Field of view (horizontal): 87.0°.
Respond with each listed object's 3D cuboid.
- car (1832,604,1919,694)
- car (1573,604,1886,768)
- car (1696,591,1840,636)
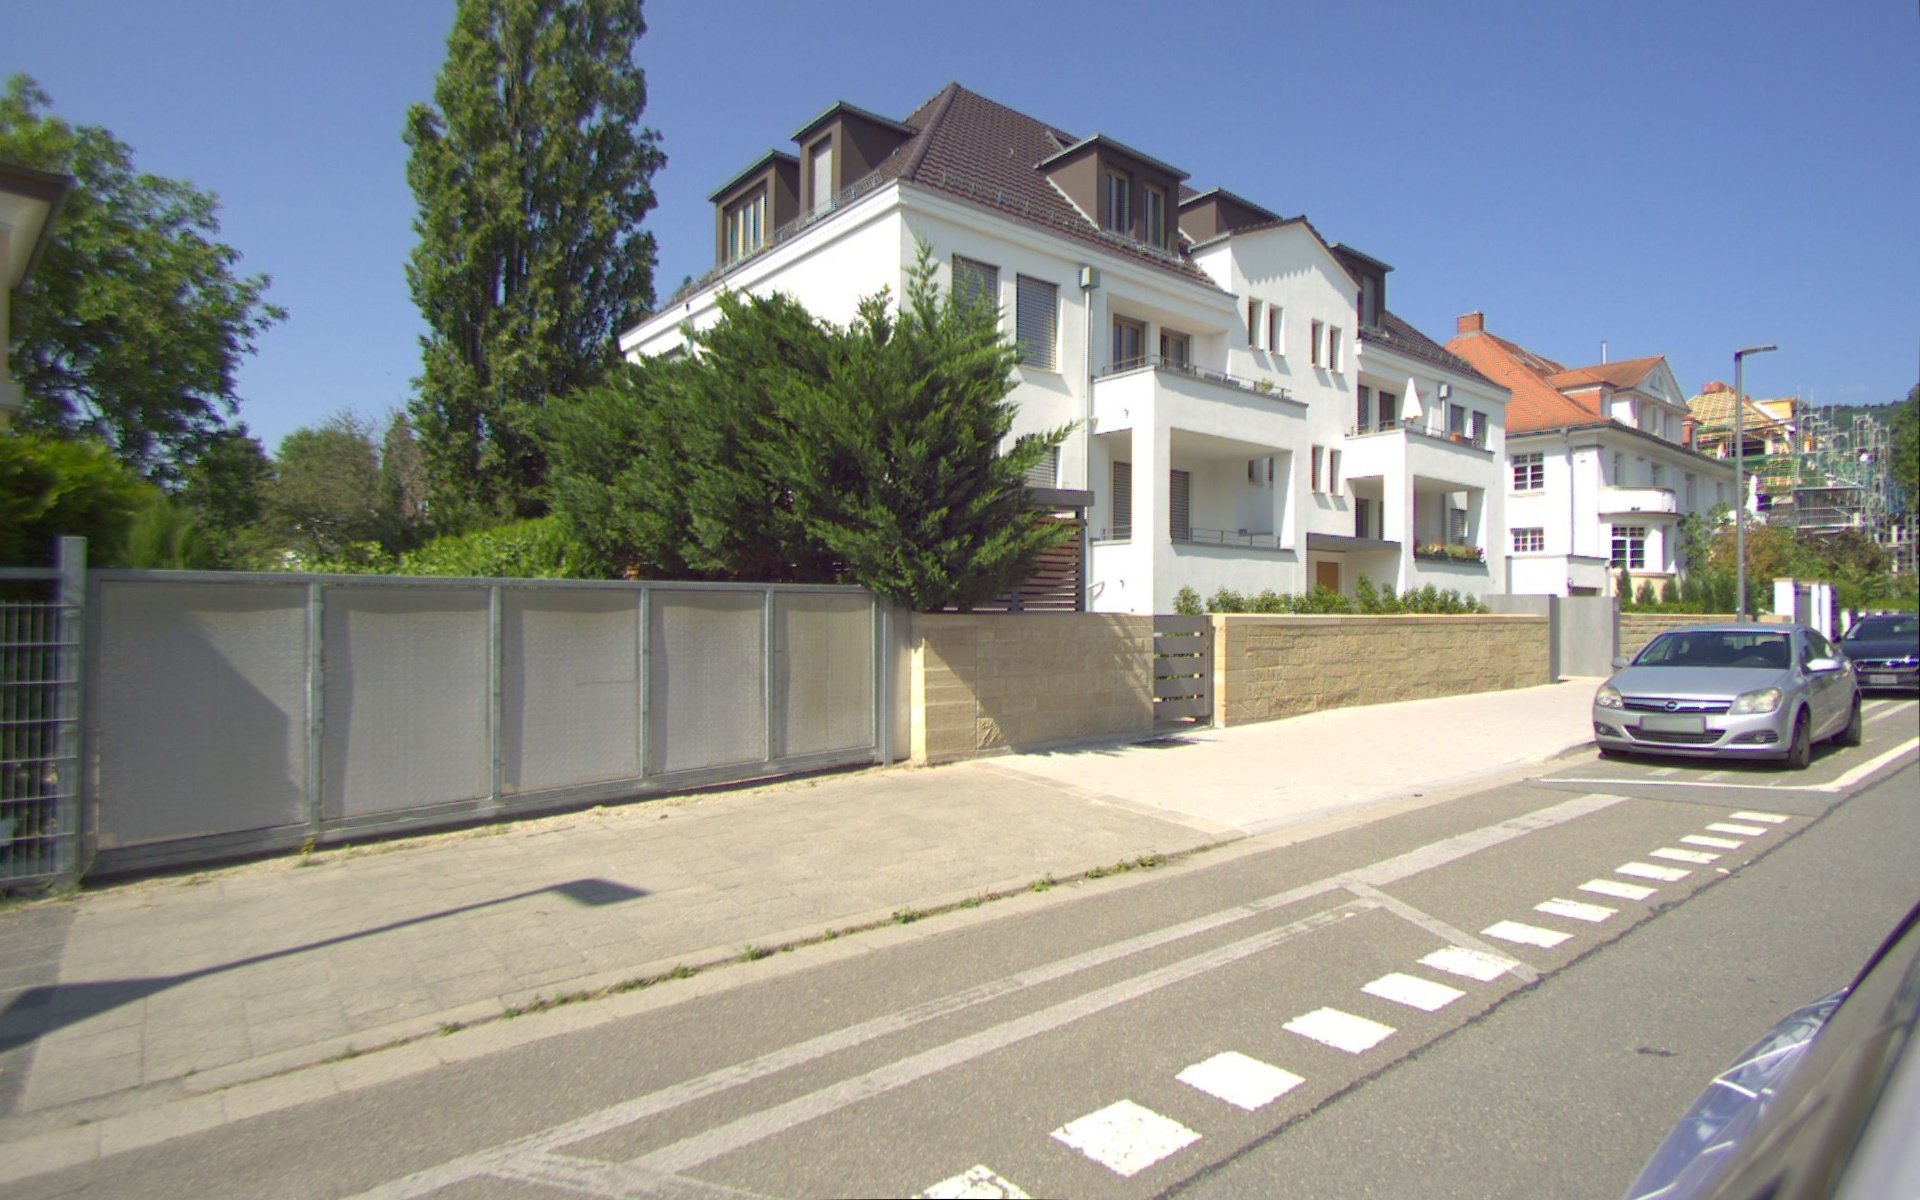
[{"bbox_3d":[17.244,0.817,18.243,4.096,1.468,1.724,0,-3,-42],"label":"car"},{"bbox_3d":[8.324,0.806,10.825,4.004,1.346,1.739,-1,-3,-40],"label":"car"},{"bbox_3d":[32.095,0.567,40.309,1.671,1.603,4.170,0,-3,-39],"label":"car"}]
